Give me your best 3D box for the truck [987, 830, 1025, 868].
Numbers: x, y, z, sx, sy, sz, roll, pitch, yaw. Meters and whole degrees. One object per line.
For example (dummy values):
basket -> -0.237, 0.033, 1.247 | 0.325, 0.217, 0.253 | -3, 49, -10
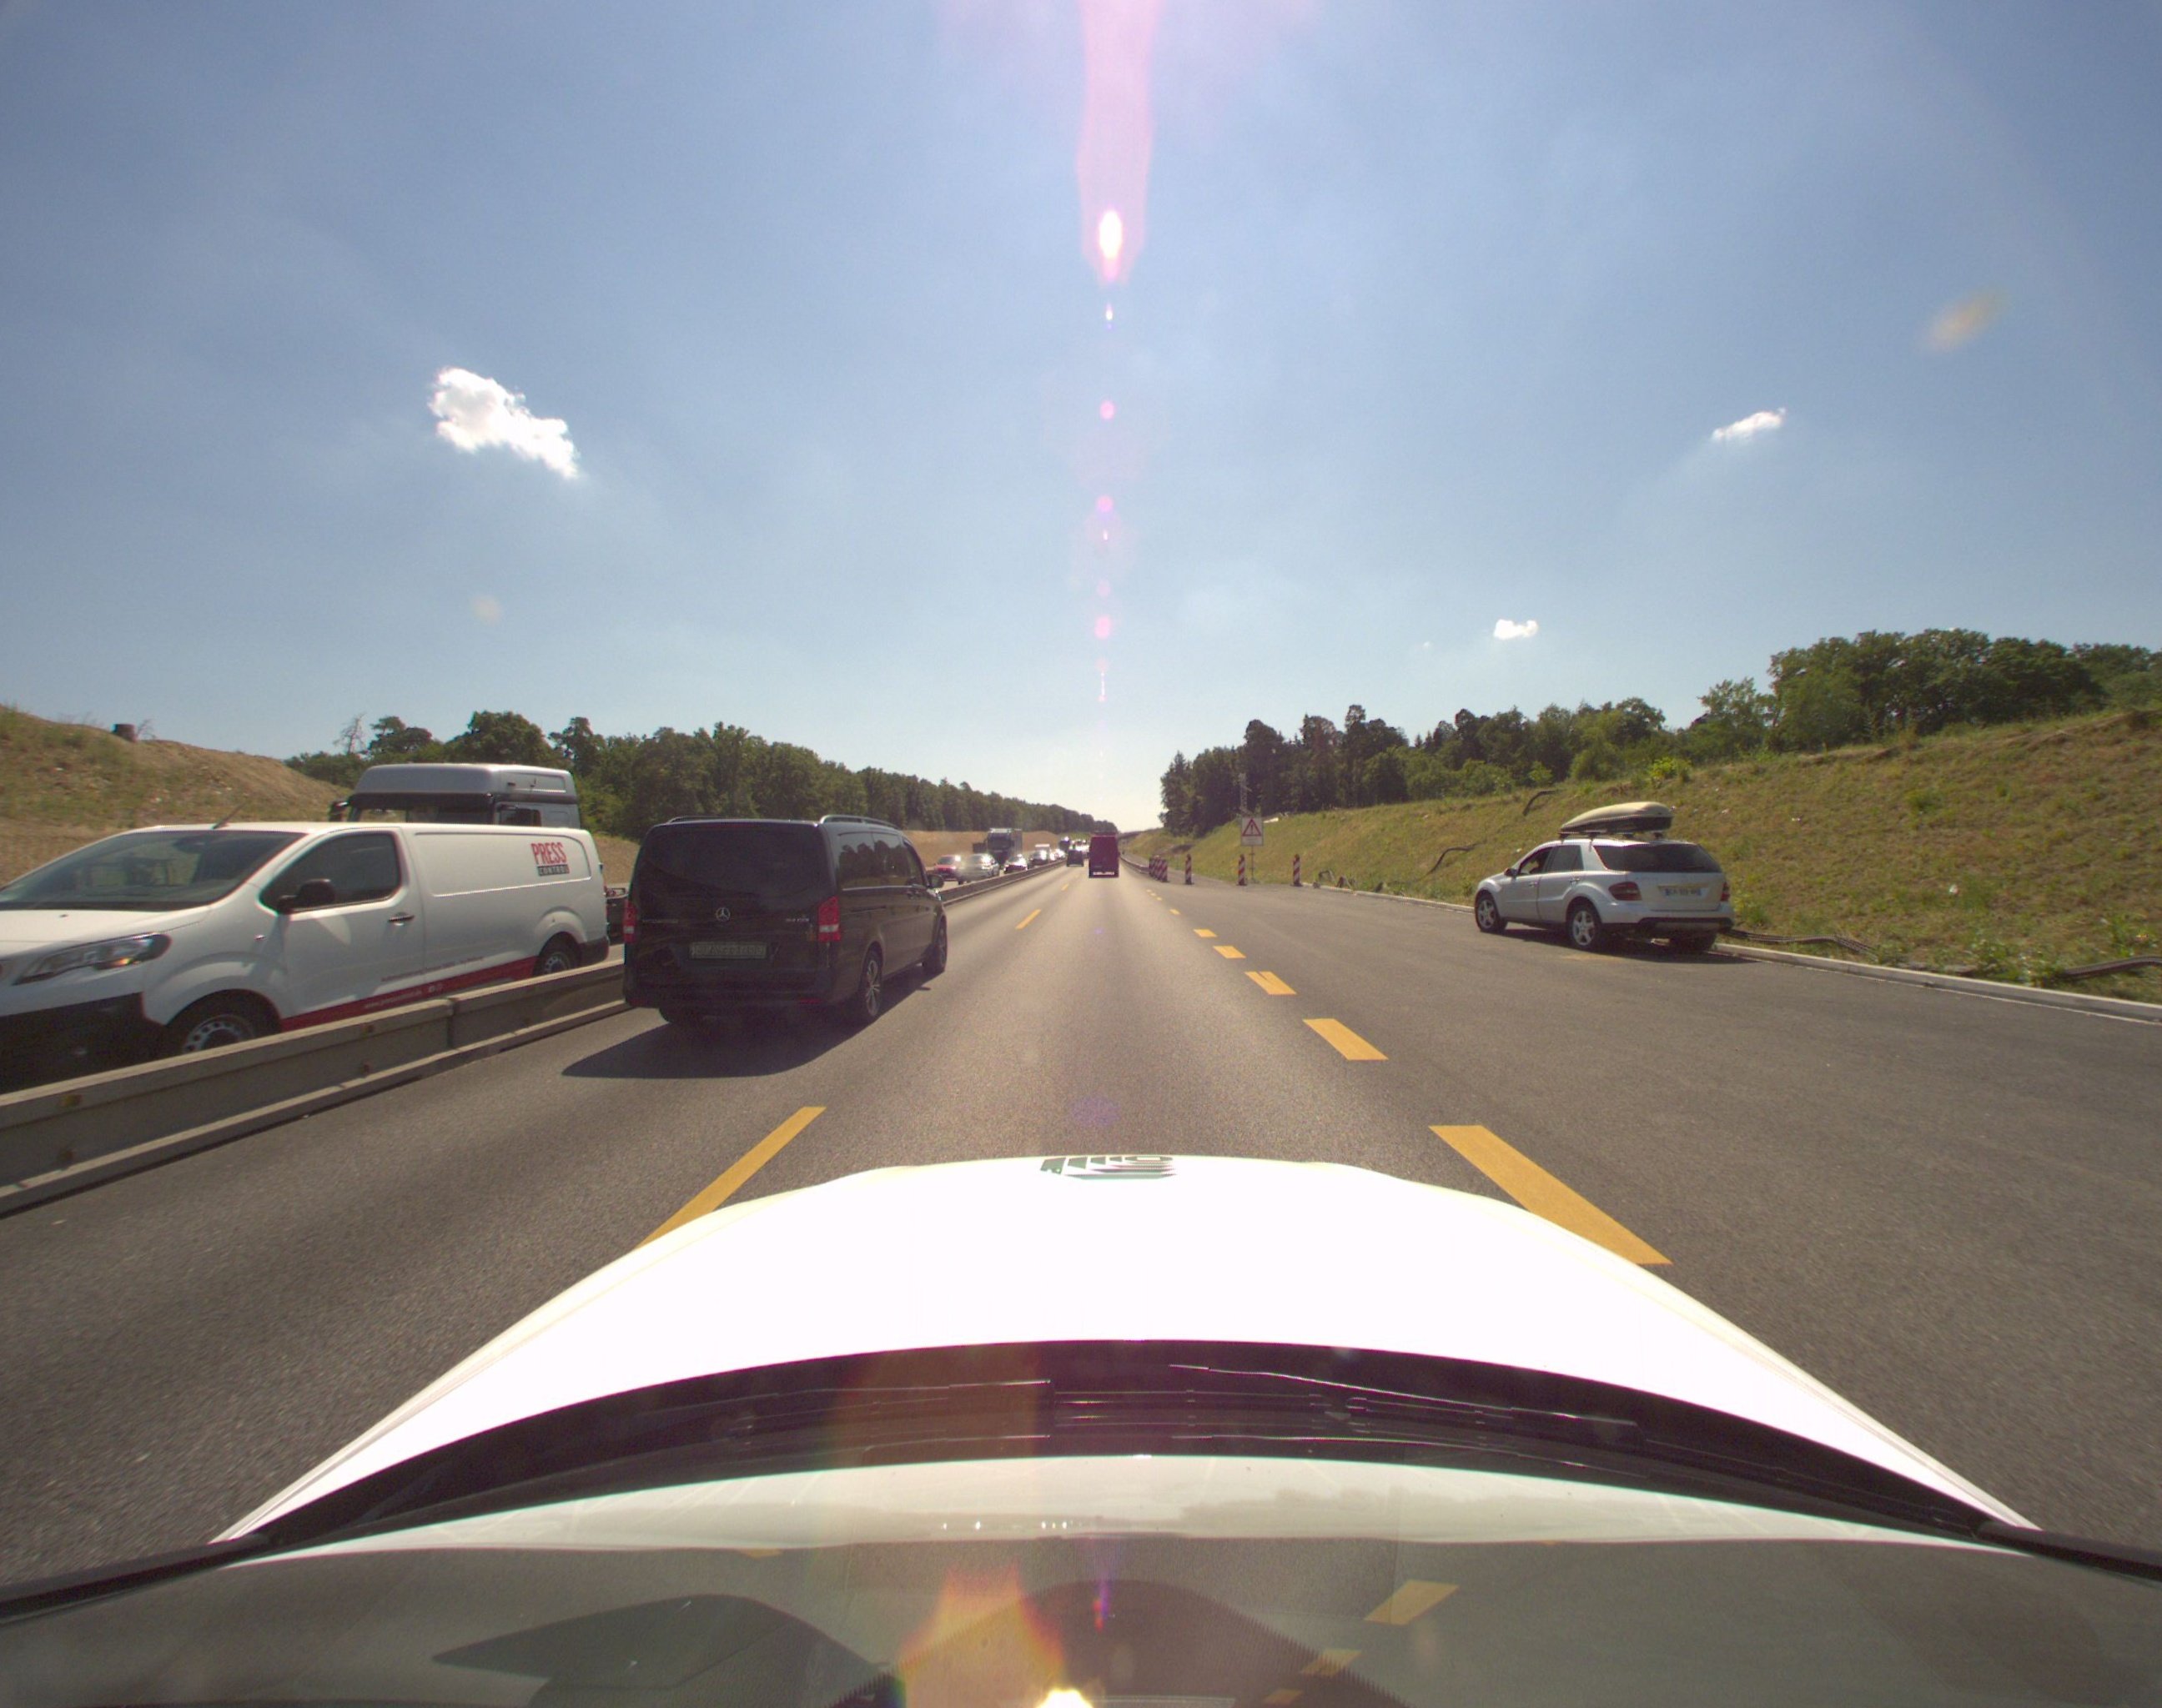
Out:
truck -> -7.366, -0.384, 81.318 | 2.499, 3.617, 9.646 | 0, -1, 3

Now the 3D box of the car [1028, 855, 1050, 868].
car -> -4.178, 0.767, 81.936 | 1.834, 1.327, 3.945 | 0, -1, 3

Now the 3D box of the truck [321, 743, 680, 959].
truck -> -9.510, 0.003, 14.130 | 2.389, 3.059, 5.065 | 0, -1, 2

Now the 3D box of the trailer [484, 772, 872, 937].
trailer -> -9.154, 0.068, 22.163 | 2.337, 2.932, 15.279 | 0, 0, 3

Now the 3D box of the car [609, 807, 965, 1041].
car -> -2.723, 0.576, 9.206 | 1.867, 1.851, 5.480 | 0, -1, 2

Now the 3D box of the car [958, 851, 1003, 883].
car -> -5.219, 0.687, 42.722 | 1.618, 1.557, 4.072 | 0, -1, 3

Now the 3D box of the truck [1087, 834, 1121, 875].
truck -> 1.541, 0.109, 54.201 | 2.145, 2.590, 5.334 | 0, -1, 2

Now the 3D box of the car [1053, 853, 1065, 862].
car -> -3.301, 0.499, 120.966 | 1.458, 1.327, 3.373 | 0, -1, 3

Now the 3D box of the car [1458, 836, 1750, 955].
car -> 8.492, 0.565, 13.889 | 1.770, 1.677, 4.852 | 1, 0, -2

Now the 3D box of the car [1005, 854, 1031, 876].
car -> -4.768, 0.860, 61.993 | 1.677, 1.596, 3.225 | 0, -1, 1

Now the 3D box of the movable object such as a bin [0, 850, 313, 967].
movable object such as a bin -> -28.877, 1.482, 25.667 | 2.160, 3.109, 7.169 | -3, 0, 2

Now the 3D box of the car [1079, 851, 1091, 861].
car -> 0.632, 0.333, 126.842 | 1.824, 1.522, 3.962 | 0, -1, 2

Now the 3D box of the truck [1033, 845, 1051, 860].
truck -> -6.444, -0.287, 135.316 | 2.390, 2.358, 5.229 | 0, -1, 2

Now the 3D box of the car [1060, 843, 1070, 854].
car -> -3.889, -1.448, 199.814 | 2.377, 2.580, 3.999 | 0, -1, 0

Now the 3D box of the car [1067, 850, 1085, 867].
car -> -0.531, 0.475, 87.126 | 1.745, 1.824, 4.784 | 0, 0, 2

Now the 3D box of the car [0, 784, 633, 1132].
car -> -6.346, 0.625, 7.147 | 1.819, 1.927, 5.264 | 0, -1, 1

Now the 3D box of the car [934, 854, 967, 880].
car -> -7.675, 0.764, 48.083 | 1.371, 1.462, 3.153 | 0, -1, 1

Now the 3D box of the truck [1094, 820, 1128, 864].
truck -> 4.160, -1.480, 114.177 | 4.383, 5.496, 16.608 | 0, -1, 2

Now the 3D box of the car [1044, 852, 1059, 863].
car -> -3.601, 0.485, 99.901 | 1.458, 1.327, 3.373 | 0, -1, 3

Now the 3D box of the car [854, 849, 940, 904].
car -> -5.837, 0.710, 26.285 | 1.719, 1.630, 4.391 | 0, -1, 1
